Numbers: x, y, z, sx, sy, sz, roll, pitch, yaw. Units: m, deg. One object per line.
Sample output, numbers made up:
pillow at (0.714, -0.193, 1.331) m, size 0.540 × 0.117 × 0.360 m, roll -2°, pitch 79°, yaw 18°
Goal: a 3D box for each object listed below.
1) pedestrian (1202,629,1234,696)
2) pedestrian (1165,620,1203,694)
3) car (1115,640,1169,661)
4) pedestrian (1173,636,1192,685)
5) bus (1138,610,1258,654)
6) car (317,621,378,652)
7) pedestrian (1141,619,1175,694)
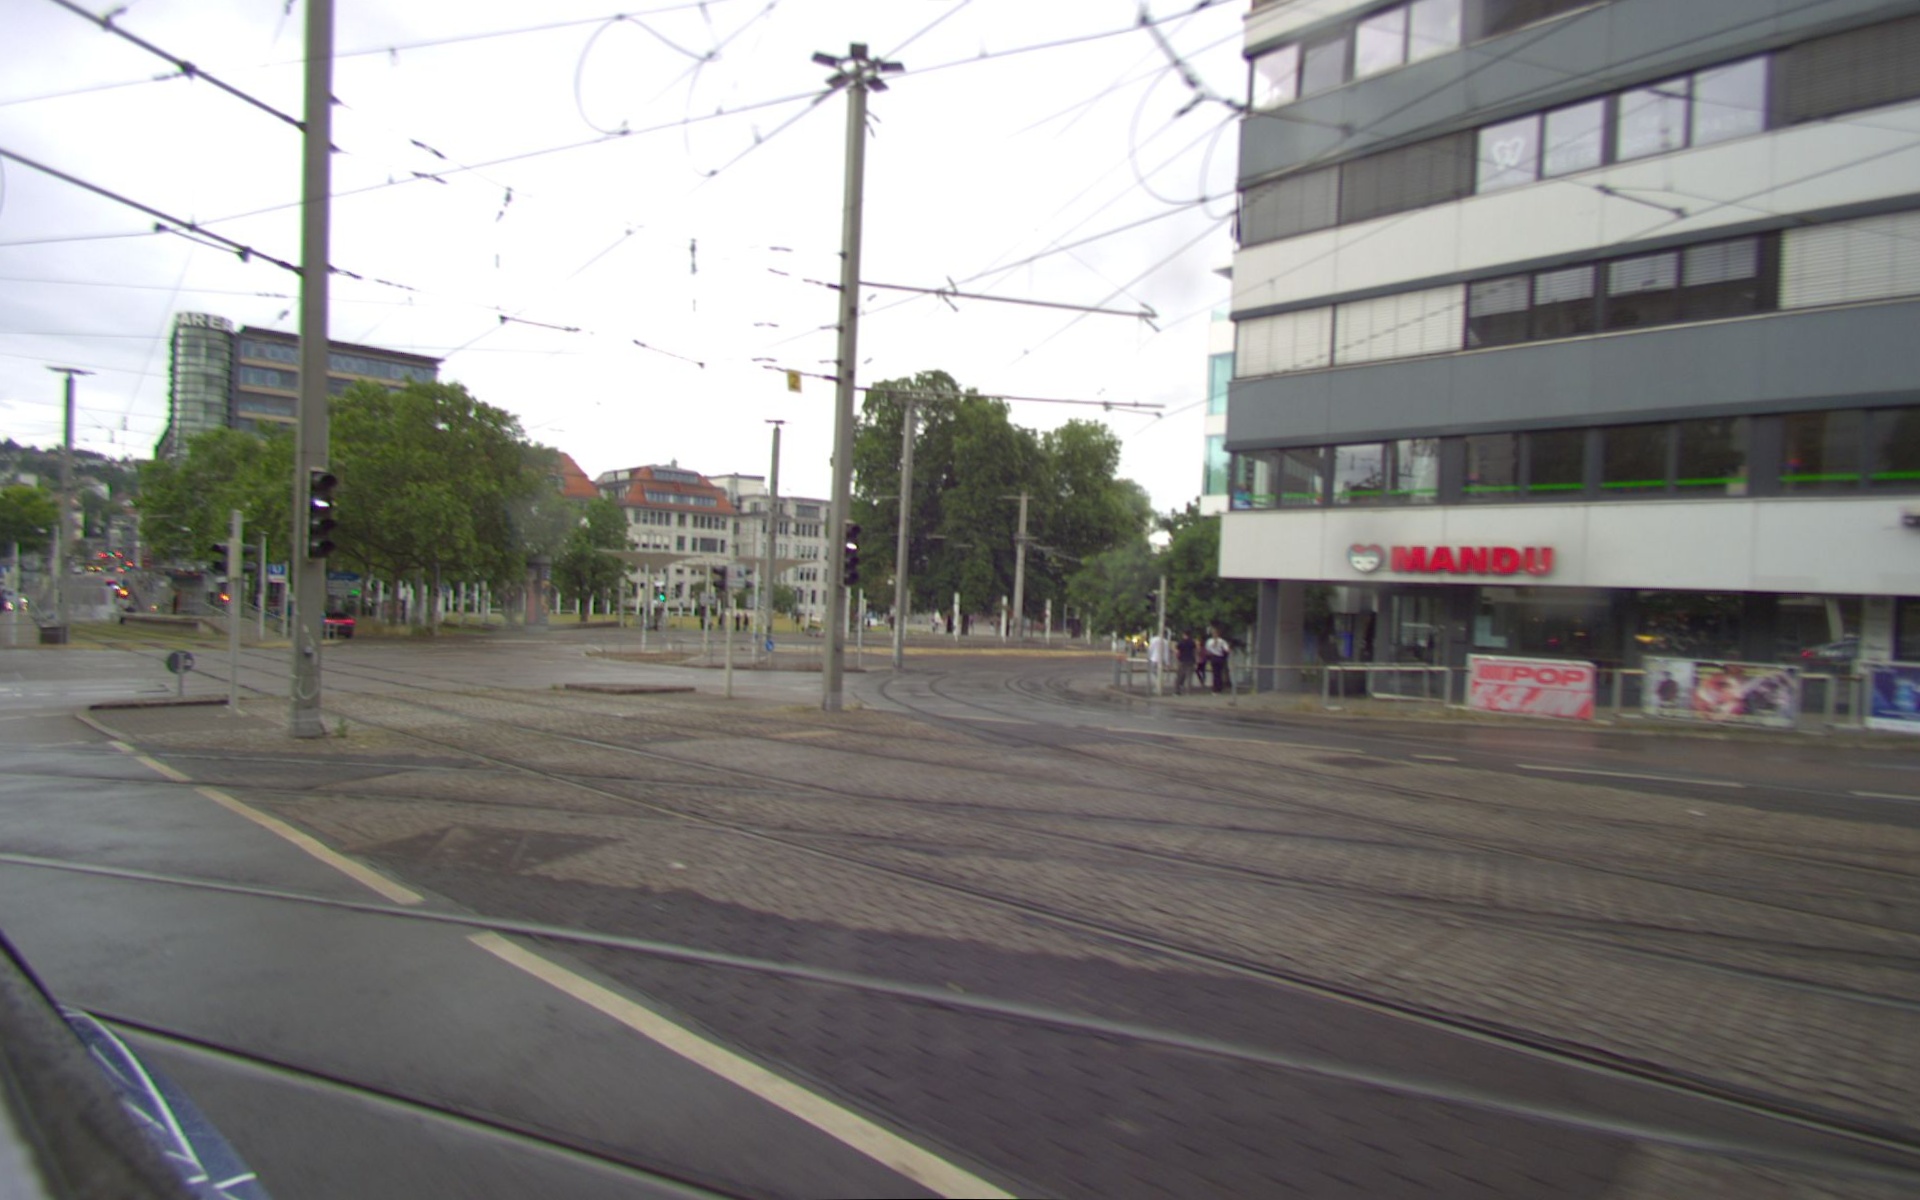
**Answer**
pedestrian at (6.957, 1.677, 27.296) m, size 0.689 × 1.775 × 0.718 m, roll 1°, pitch -1°, yaw 3°
pedestrian at (6.011, 1.521, 27.177) m, size 0.698 × 1.928 × 0.709 m, roll 0°, pitch -2°, yaw 43°
car at (14.808, 4.072, 82.073) m, size 4.466 × 1.658 × 2.003 m, roll 2°, pitch -2°, yaw -42°
pedestrian at (7.345, 1.988, 33.387) m, size 0.539 × 1.575 × 0.518 m, roll 1°, pitch -1°, yaw 21°
bus at (19.568, 2.615, 82.509) m, size 12.330 × 3.326 × 3.091 m, roll 2°, pitch -2°, yaw -42°
car at (-32.949, 1.953, 54.414) m, size 2.072 × 1.517 × 4.740 m, roll 2°, pitch -2°, yaw -40°
pedestrian at (5.184, 1.461, 26.508) m, size 0.687 × 1.928 × 0.720 m, roll 1°, pitch -1°, yaw -4°
